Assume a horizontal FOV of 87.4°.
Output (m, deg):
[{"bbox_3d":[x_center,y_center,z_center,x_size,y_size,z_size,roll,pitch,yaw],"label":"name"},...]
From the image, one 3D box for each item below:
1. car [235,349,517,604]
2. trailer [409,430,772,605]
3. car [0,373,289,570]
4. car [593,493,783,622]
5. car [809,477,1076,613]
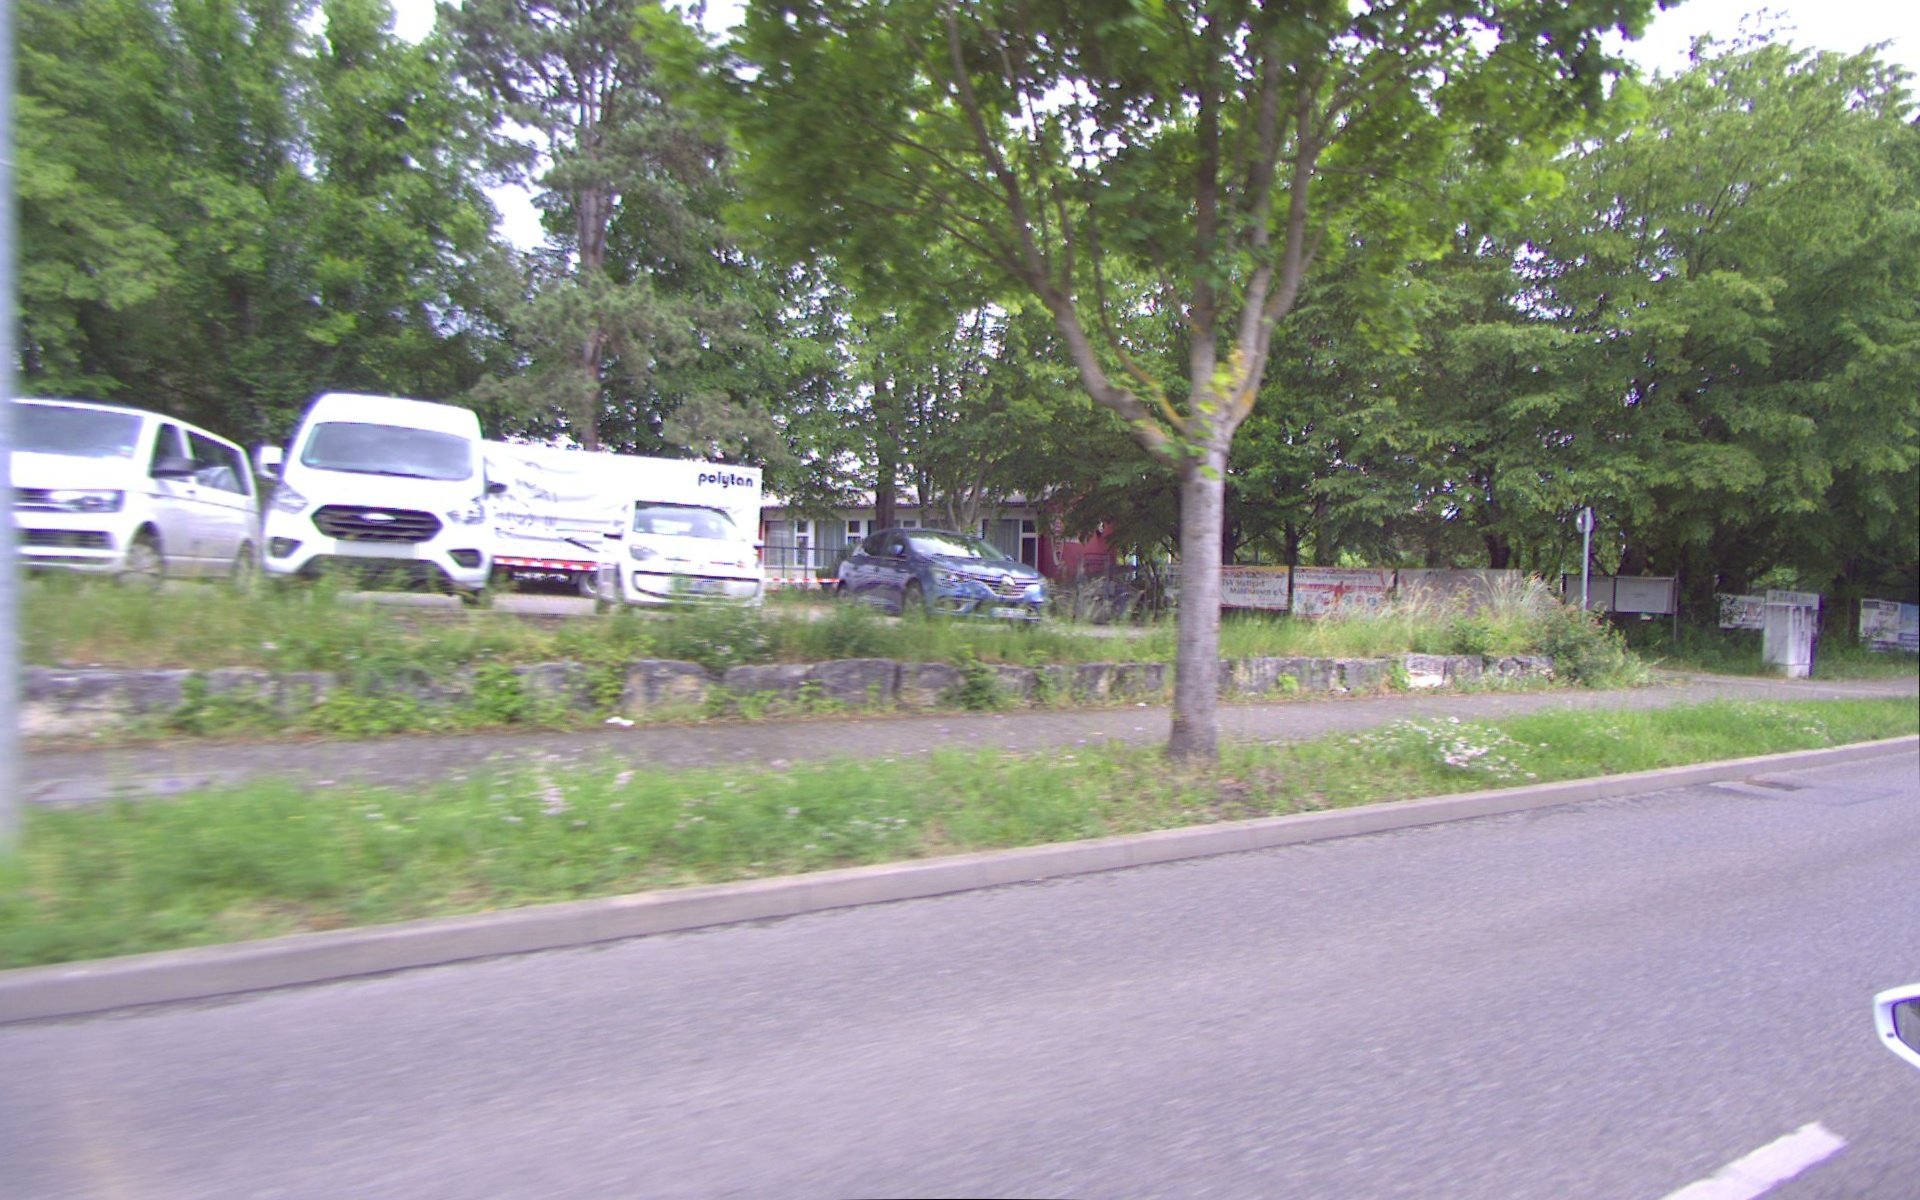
[{"bbox_3d":[-6.323,-1.147,11.389,2.185,2.135,5.138,1,2,-26],"label":"car"},{"bbox_3d":[-8.065,-1.652,22.366,7.101,3.115,2.639,3,1,-26],"label":"trailer"},{"bbox_3d":[-8.828,-1.146,10.418,2.066,1.569,4.984,1,2,-21],"label":"car"},{"bbox_3d":[-3.605,-0.514,12.741,1.542,1.334,4.362,1,2,-26],"label":"car"},{"bbox_3d":[-0.503,-0.734,14.513,1.861,1.582,5.138,1,2,-26],"label":"car"}]
